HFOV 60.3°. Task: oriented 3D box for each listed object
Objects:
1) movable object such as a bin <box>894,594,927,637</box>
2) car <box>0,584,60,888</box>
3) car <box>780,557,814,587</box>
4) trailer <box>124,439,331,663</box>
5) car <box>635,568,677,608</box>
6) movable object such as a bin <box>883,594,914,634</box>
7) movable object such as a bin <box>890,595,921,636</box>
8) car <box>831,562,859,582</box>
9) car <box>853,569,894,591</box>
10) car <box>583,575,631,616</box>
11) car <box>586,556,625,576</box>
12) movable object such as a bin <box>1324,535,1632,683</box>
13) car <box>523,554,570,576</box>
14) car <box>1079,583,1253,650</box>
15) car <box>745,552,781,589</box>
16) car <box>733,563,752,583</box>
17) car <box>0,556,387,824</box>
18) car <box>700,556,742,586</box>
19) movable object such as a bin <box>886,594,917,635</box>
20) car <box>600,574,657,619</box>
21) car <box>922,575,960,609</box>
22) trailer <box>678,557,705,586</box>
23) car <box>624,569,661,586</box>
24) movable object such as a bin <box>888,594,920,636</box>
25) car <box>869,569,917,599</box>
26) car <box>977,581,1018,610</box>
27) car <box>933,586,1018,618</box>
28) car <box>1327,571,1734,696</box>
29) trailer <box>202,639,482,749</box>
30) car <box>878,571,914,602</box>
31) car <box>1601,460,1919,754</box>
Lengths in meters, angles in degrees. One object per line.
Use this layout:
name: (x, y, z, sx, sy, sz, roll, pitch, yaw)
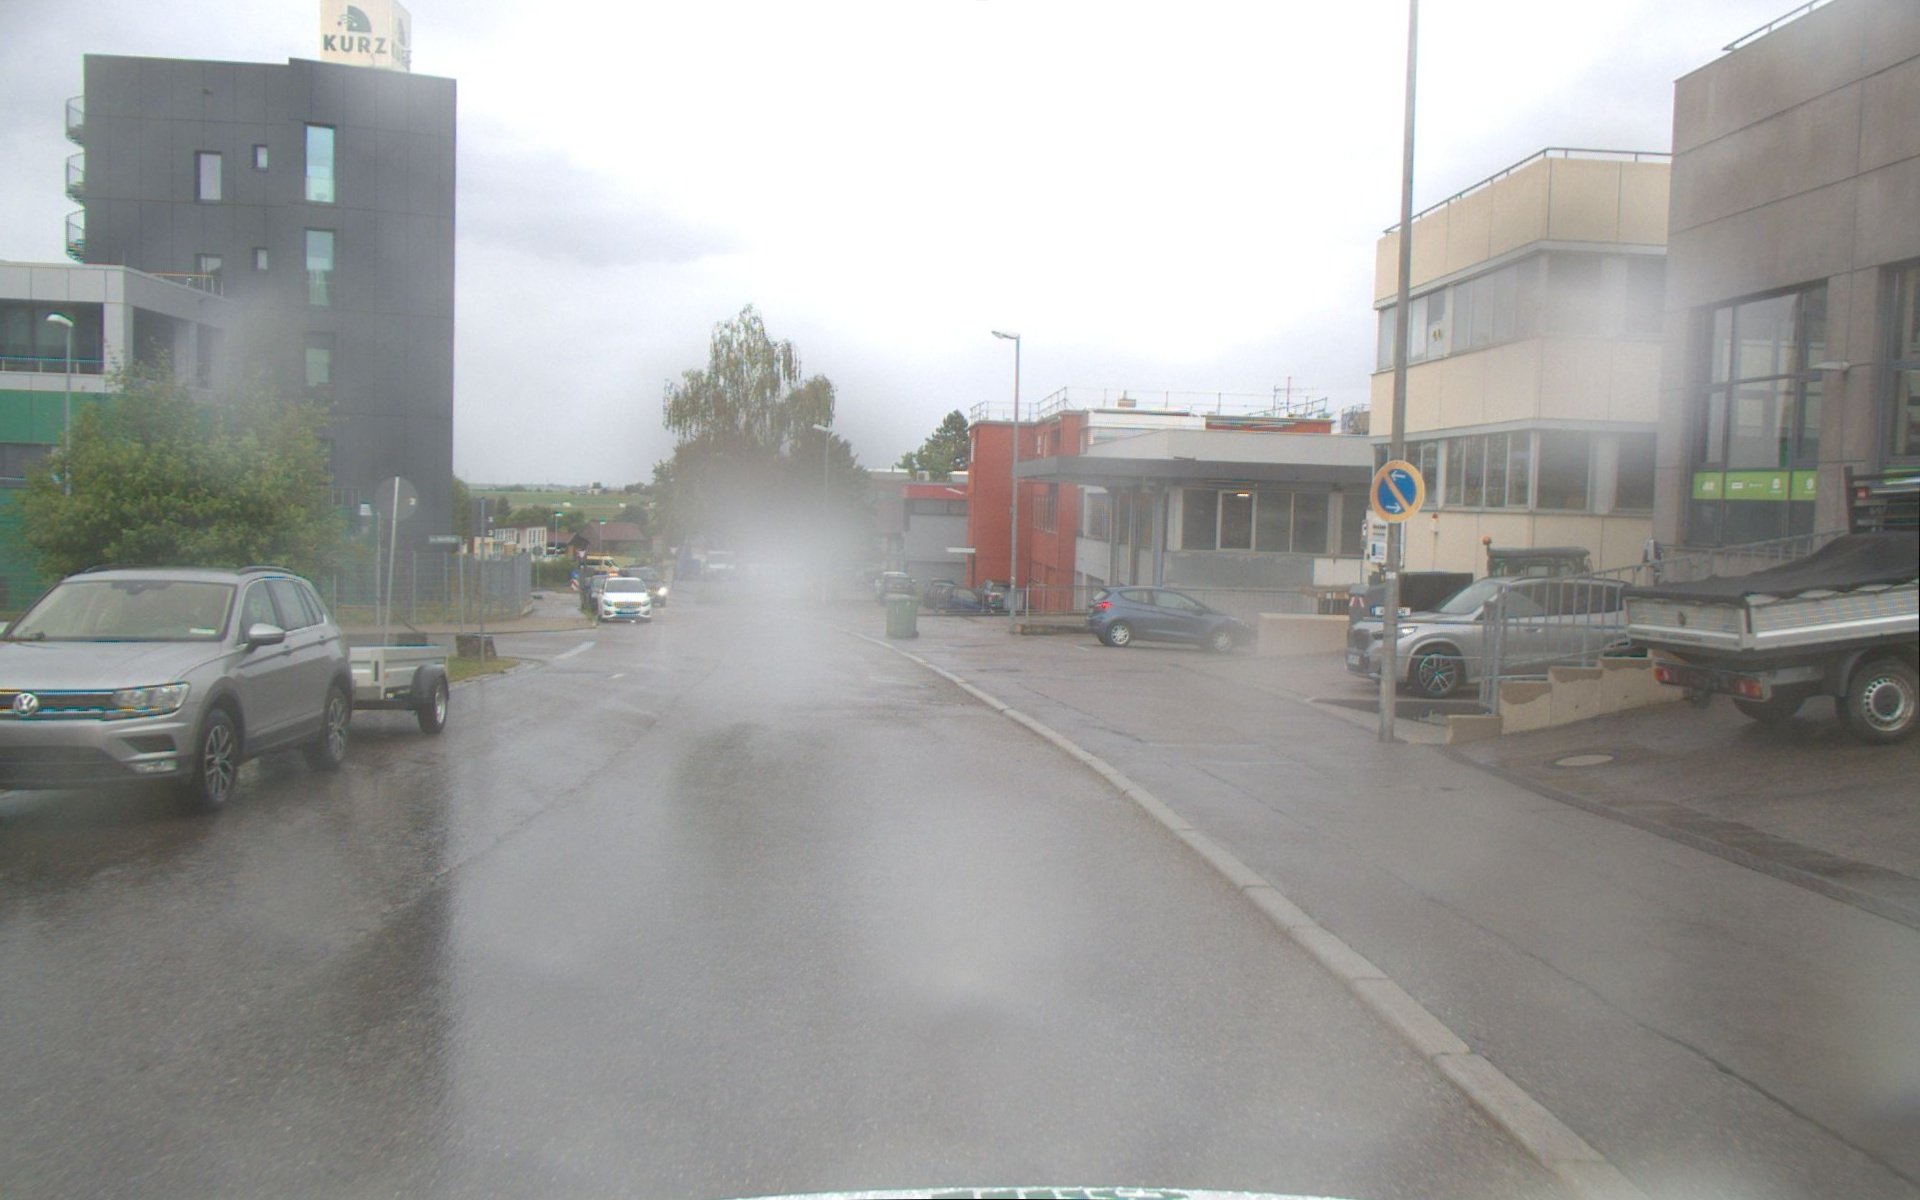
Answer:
movable object such as a bin: (-1.302, 0.410, 43.477, 0.791, 1.112, 0.708, 0, 1, -9)
car: (-5.507, 0.669, 5.981, 1.917, 1.486, 5.243, 1, 0, -4)
car: (-11.730, -1.995, 119.159, 2.107, 2.049, 3.929, 1, 0, -11)
trailer: (-14.878, -0.944, 33.540, 4.101, 4.276, 2.000, 0, 0, 34)
car: (-15.282, -0.604, 83.289, 1.850, 1.919, 5.062, 1, 1, -8)
movable object such as a bin: (-1.702, 0.380, 45.835, 0.787, 1.098, 0.623, 0, 1, -9)
movable object such as a bin: (-1.444, 0.407, 44.115, 0.761, 1.094, 0.582, 0, 1, -9)
car: (-8.737, -2.106, 125.649, 1.609, 1.479, 3.499, 1, 0, -14)
car: (-5.562, -1.268, 105.828, 2.501, 1.375, 1.239, 1, 1, -10)
car: (-15.083, -0.208, 70.543, 1.673, 1.637, 3.982, -1, 1, -17)
car: (-41.760, -4.025, 194.929, 4.152, 2.265, 2.000, 0, 0, 2)
movable object such as a bin: (7.727, 0.123, 24.846, 4.170, 2.147, 1.476, 0, 0, -4)
car: (-38.385, -3.218, 153.462, 3.908, 1.914, 1.999, 1, 1, -4)
car: (4.898, 0.389, 39.652, 3.819, 1.408, 1.819, 2, -1, -5)
car: (-14.059, -2.072, 118.003, 2.154, 2.502, 3.988, 1, 0, -12)
car: (-16.274, -2.027, 123.434, 1.267, 1.449, 2.540, 1, 0, -11)
car: (-5.880, 0.550, 12.344, 1.919, 1.604, 4.834, 0, 0, -5)
car: (-16.969, -2.052, 117.333, 2.231, 2.049, 3.977, 1, 0, -19)
movable object such as a bin: (-1.606, 0.397, 45.238, 0.794, 1.095, 0.580, 0, 1, -9)
car: (-12.038, -0.119, 59.974, 1.741, 1.539, 4.128, 0, 0, -15)
car: (-0.986, -0.411, 84.524, 1.705, 1.682, 3.996, 1, 0, -4)
trailer: (-19.688, -2.113, 121.130, 1.820, 2.049, 3.989, 1, 1, -12)
car: (-31.052, -2.178, 161.741, 2.435, 1.566, 3.959, 1, 0, -31)
movable object such as a bin: (-1.519, 0.399, 44.684, 0.794, 1.109, 0.540, 0, 0, -9)
car: (-3.737, -0.861, 91.307, 2.029, 1.579, 3.988, 1, 0, -12)
car: (1.875, -0.208, 84.013, 1.695, 1.446, 3.996, 1, 0, -4)
car: (0.607, 0.064, 66.284, 3.332, 1.183, 1.791, 1, 1, -3)
car: (7.819, 0.419, 22.933, 4.992, 1.642, 1.923, 0, 1, -5)
trailer: (-6.074, 0.887, 16.718, 1.647, 0.904, 3.893, 1, 0, -5)
car: (-3.264, -0.669, 83.850, 1.664, 1.501, 3.996, 1, 0, -4)
car: (8.438, -0.183, 13.739, 5.197, 2.047, 2.220, -7, 0, -4)
